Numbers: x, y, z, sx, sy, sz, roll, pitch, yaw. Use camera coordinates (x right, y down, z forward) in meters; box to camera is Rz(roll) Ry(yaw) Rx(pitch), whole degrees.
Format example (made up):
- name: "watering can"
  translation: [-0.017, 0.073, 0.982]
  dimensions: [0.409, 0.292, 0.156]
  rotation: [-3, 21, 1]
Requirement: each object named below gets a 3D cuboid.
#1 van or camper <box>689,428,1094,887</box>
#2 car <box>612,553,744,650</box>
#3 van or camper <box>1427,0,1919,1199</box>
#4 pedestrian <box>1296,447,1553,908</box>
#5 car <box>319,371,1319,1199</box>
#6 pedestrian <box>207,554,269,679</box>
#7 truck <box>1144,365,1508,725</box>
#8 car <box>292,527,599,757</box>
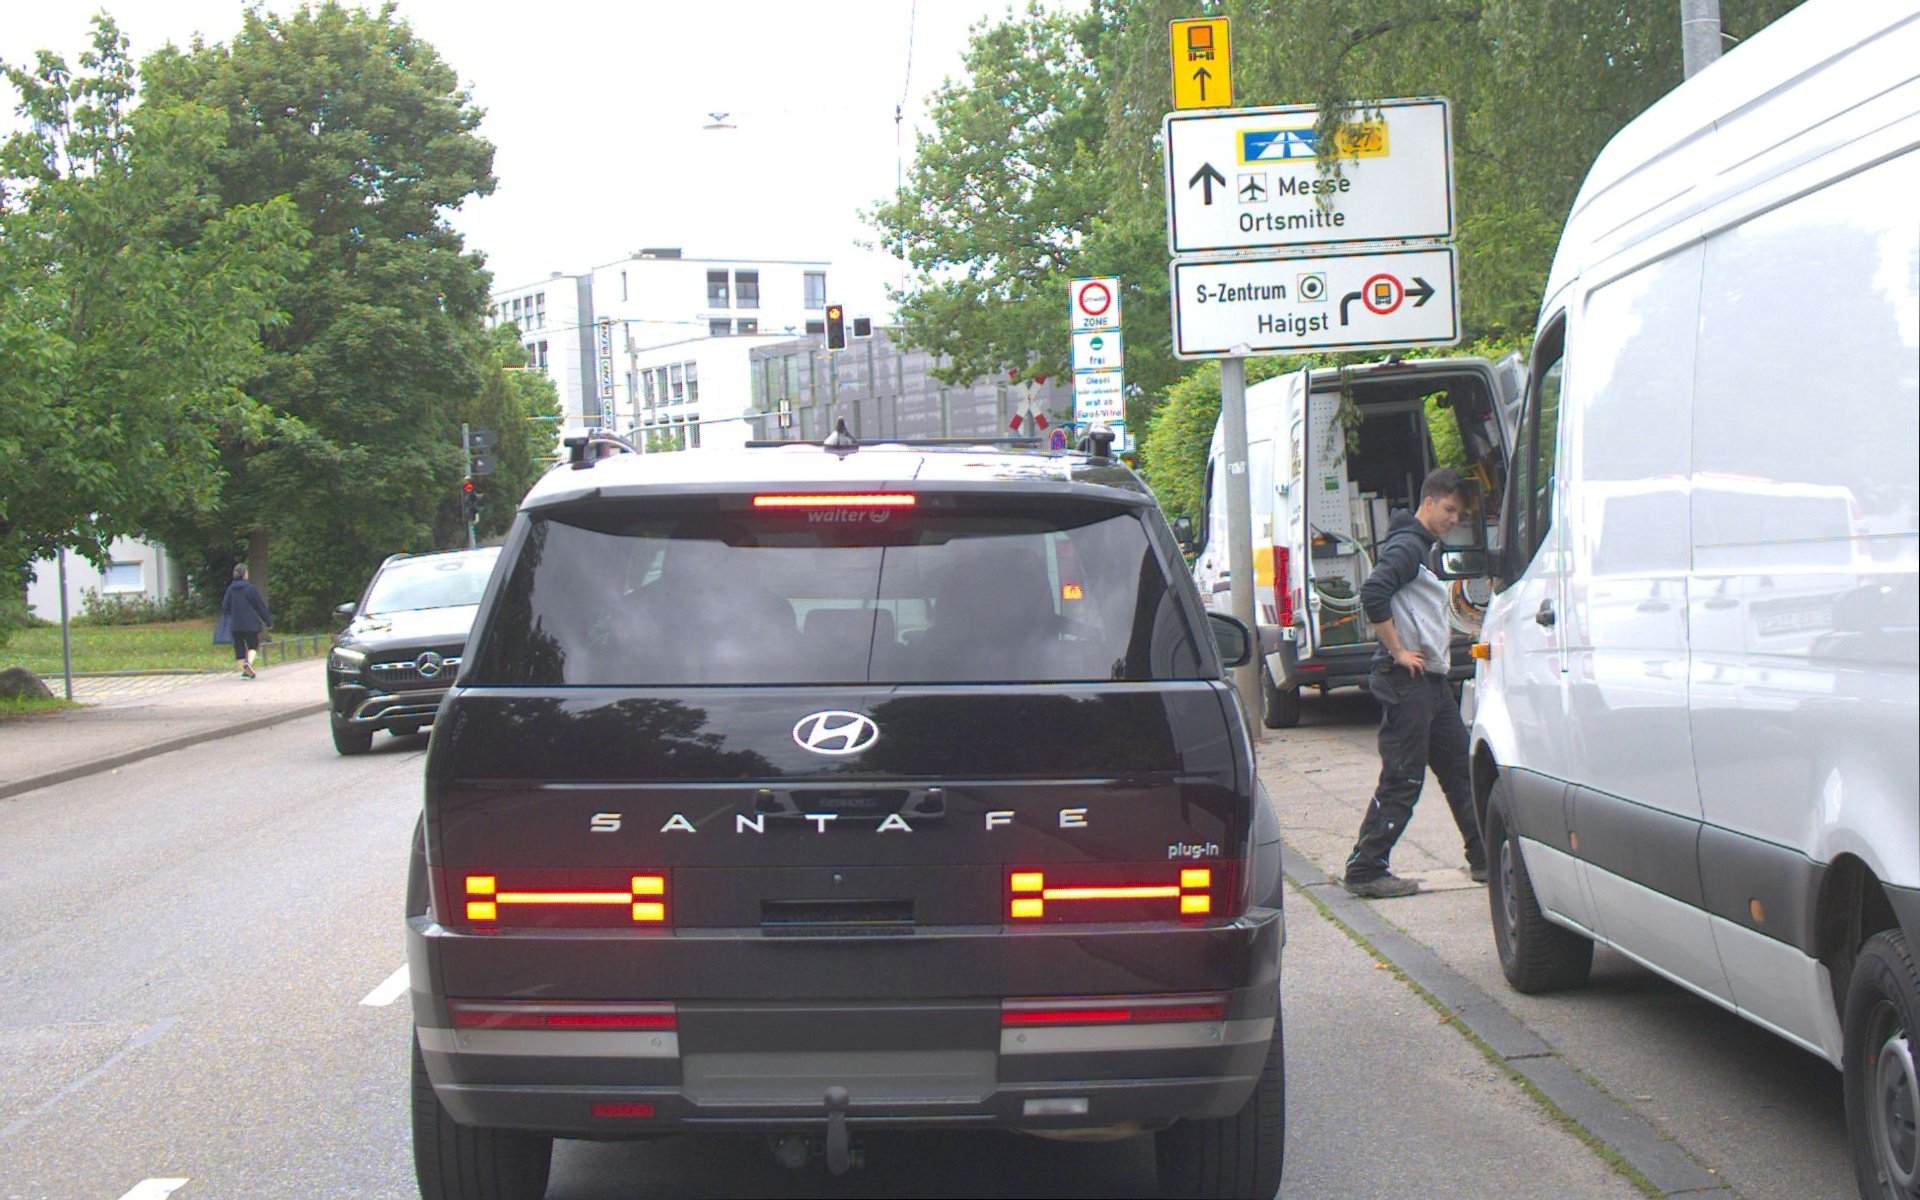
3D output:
- name: "van or camper"
  translation: [-0.330, 0.226, 17.472]
  dimensions: [1.754, 2.007, 4.000]
  rotation: [-2, 1, -1]
- name: "car"
  translation: [-4.788, 0.001, 58.873]
  dimensions: [1.859, 1.448, 4.111]
  rotation: [-4, 1, -1]
- name: "van or camper"
  translation: [2.621, -0.082, 8.116]
  dimensions: [1.993, 2.611, 6.541]
  rotation: [-2, 1, -1]
- name: "pedestrian"
  translation: [1.866, 0.300, 13.919]
  dimensions: [0.870, 1.791, 0.760]
  rotation: [-2, 1, -1]
- name: "car"
  translation: [-0.288, 0.443, 8.528]
  dimensions: [1.889, 1.813, 4.000]
  rotation: [0, 1, -1]
- name: "pedestrian"
  translation: [-10.137, 0.225, 48.282]
  dimensions: [0.738, 1.709, 0.793]
  rotation: [-2, 1, -7]
- name: "truck"
  translation: [2.854, -0.430, 28.046]
  dimensions: [1.942, 2.553, 5.217]
  rotation: [-4, 1, -4]
- name: "car"
  translation: [-4.220, 0.287, 28.862]
  dimensions: [1.859, 1.651, 4.306]
  rotation: [-4, 1, -1]
